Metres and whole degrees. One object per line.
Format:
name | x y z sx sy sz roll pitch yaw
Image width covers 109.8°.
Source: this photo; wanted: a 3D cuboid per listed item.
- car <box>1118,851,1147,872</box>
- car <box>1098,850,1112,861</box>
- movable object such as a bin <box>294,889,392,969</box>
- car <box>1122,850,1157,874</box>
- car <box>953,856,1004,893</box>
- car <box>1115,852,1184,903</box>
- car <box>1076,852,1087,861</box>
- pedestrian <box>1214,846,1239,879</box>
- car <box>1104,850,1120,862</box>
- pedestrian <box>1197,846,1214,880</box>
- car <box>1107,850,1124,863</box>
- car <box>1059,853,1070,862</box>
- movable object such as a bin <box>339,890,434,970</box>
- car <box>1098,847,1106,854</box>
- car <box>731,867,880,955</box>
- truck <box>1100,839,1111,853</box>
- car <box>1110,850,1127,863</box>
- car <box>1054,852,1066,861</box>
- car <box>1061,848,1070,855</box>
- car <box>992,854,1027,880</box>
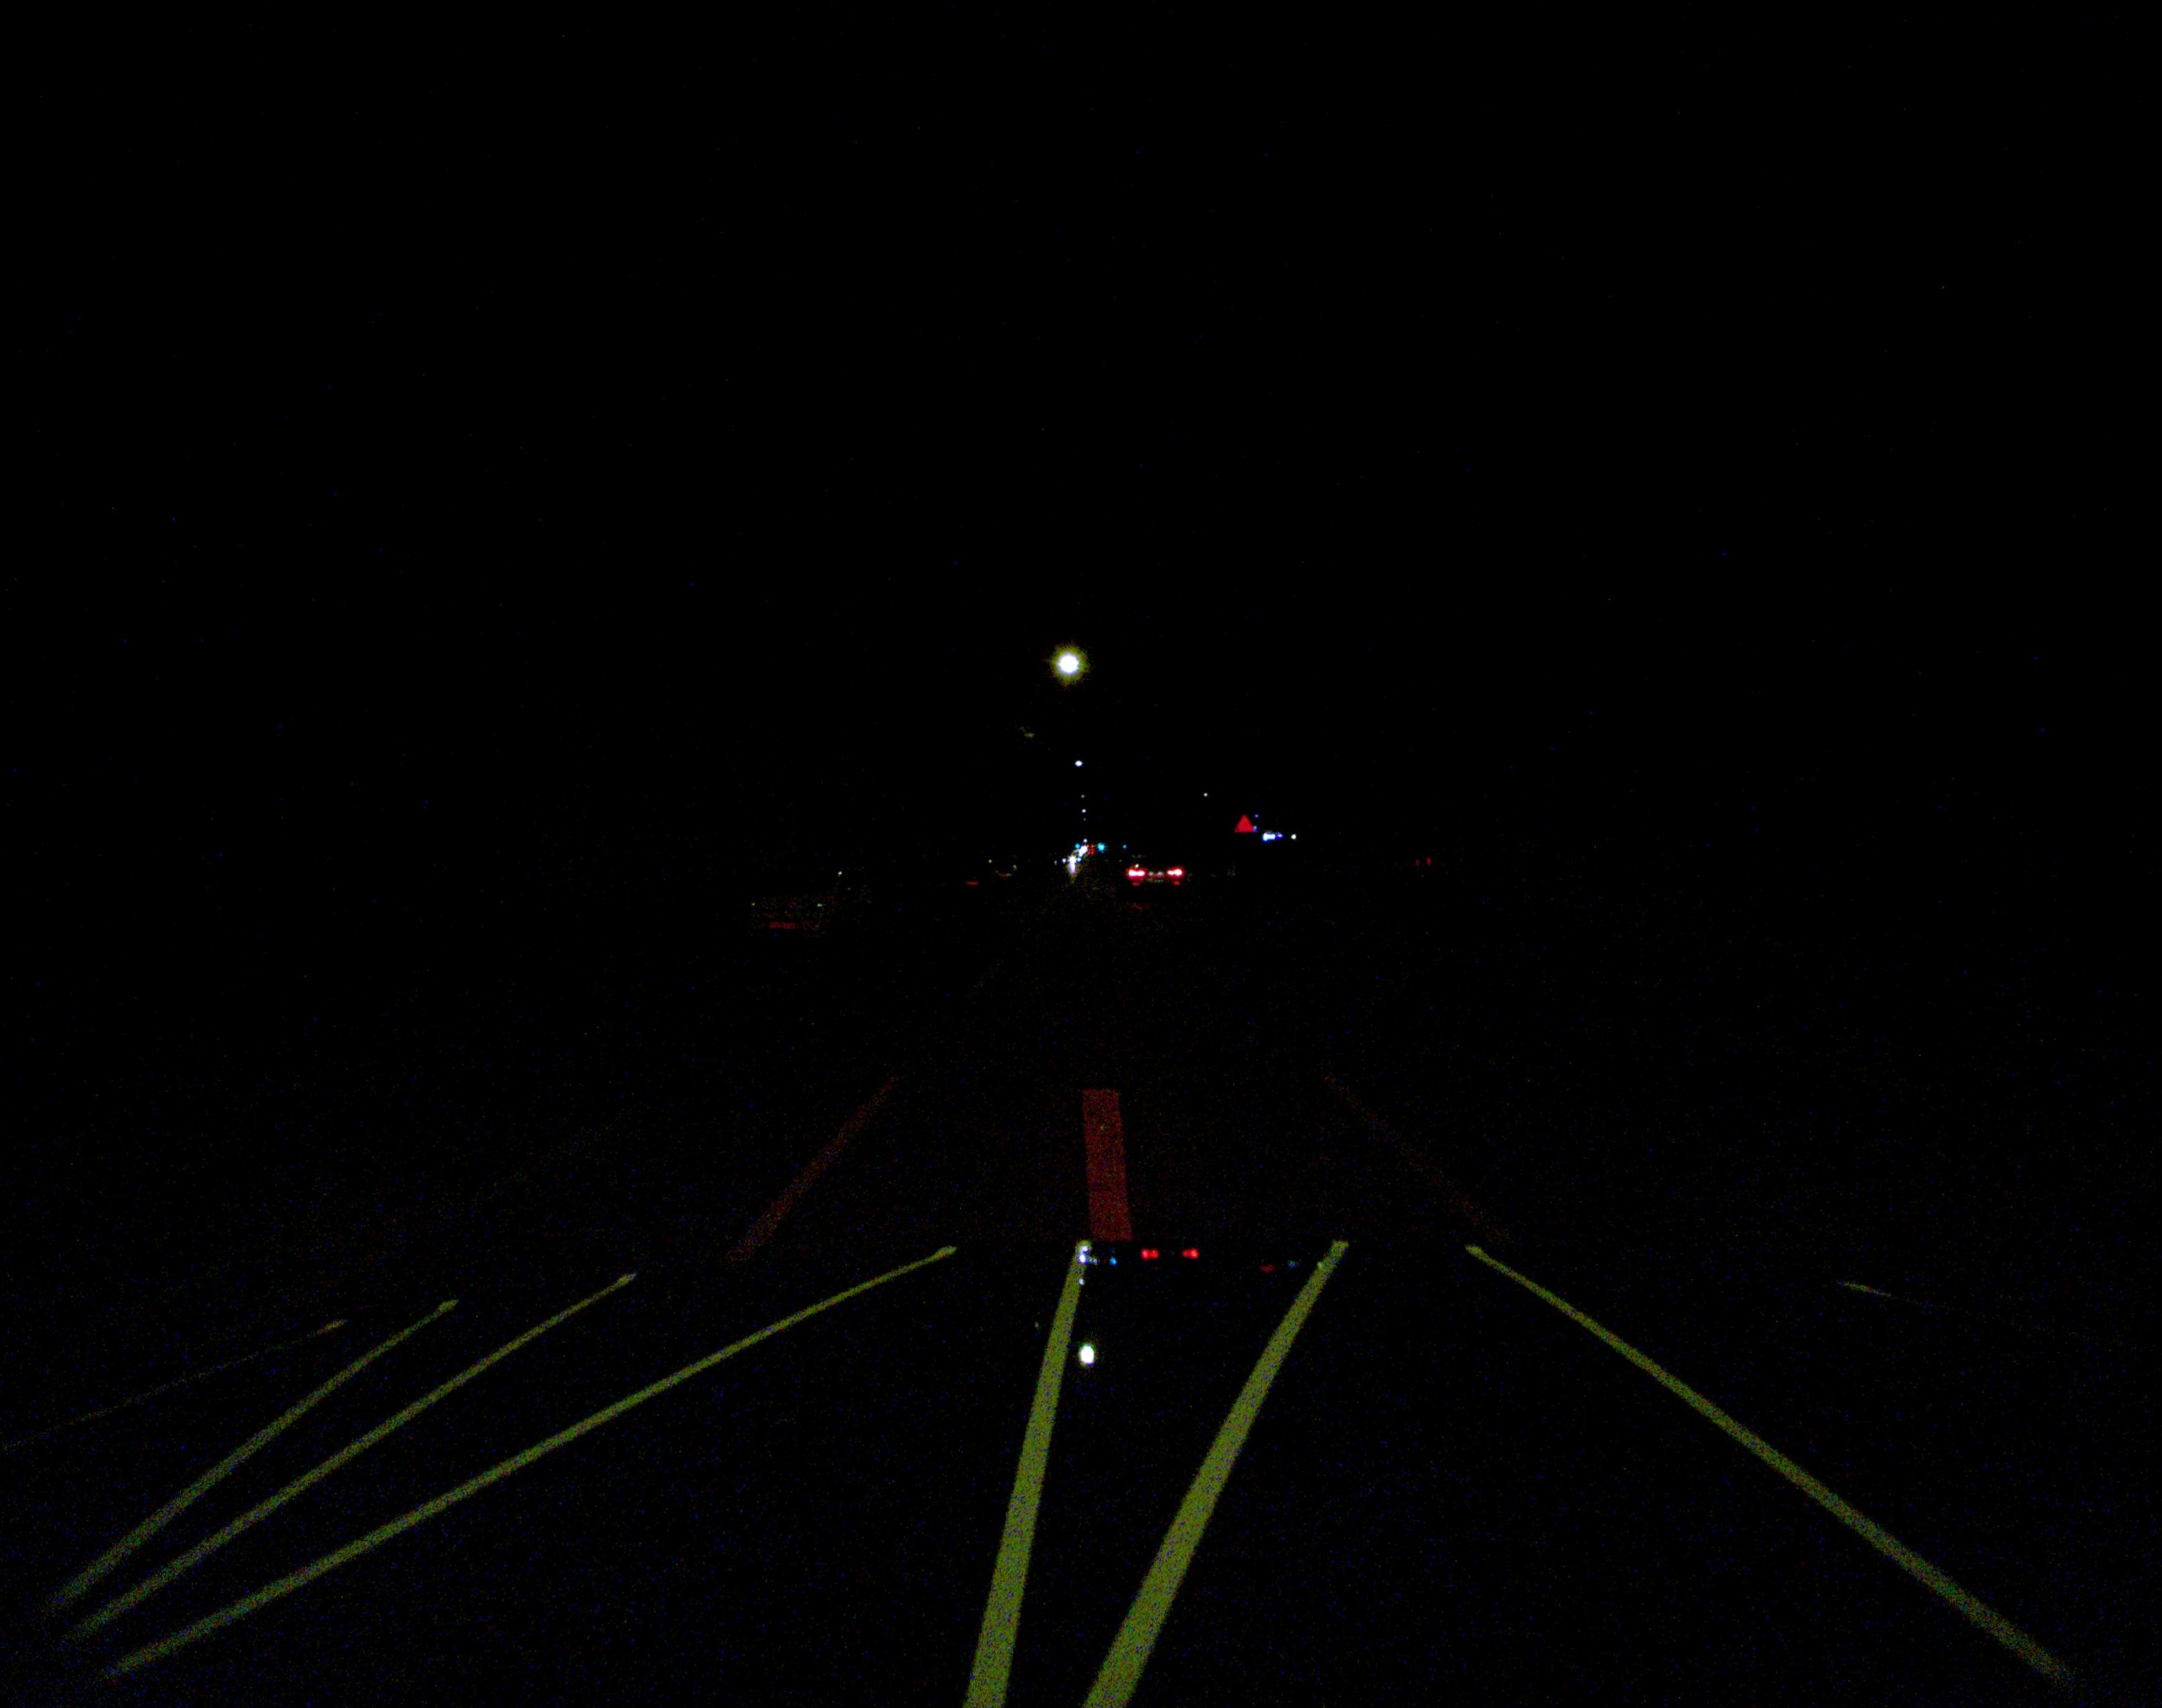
car | 3.893 0.566 57.841 1.864 1.458 3.896 -4 0 -1
car | 3.730 0.219 119.491 1.874 1.635 3.999 -2 0 -3
movable object such as a bin | -10.525 1.053 10.867 0.609 1.042 0.755 -2 1 1
car | 3.971 0.522 52.326 1.864 1.524 4.587 -4 0 -1
car | -4.567 0.874 34.285 1.865 1.544 4.044 0 0 -1
car | 2.218 0.726 25.662 1.862 1.525 4.027 -2 0 -1
car | 0.030 0.391 140.617 1.874 1.635 3.999 -2 0 0
pedestrian | 7.537 0.427 39.343 1.102 1.662 0.744 -2 1 0
car | 4.443 0.308 110.060 1.874 1.635 3.999 -2 0 -3
pedestrian | 6.542 0.461 39.863 0.670 1.716 0.866 -2 1 -2
car | 4.726 0.366 105.122 1.874 1.635 3.999 -2 0 -3
car | -2.981 0.582 134.797 1.874 1.407 3.999 -2 0 0
movable object such as a bin | -9.893 1.061 10.854 0.609 1.042 0.755 -2 1 1
car | 5.003 -0.742 180.310 1.873 1.551 4.353 -2 0 1
car | -5.335 1.031 15.198 1.672 1.476 3.603 0 0 0
truck | 4.969 -1.609 155.505 2.084 2.562 6.873 -2 0 1
car | 4.968 0.338 100.866 1.874 1.635 3.999 -2 0 -3
car | -3.579 0.405 129.141 1.874 1.407 3.999 -2 0 0
car | -3.314 -0.454 162.465 1.874 1.407 3.999 -2 0 0
car | -4.451 0.775 47.806 1.742 1.588 4.359 0 0 1
